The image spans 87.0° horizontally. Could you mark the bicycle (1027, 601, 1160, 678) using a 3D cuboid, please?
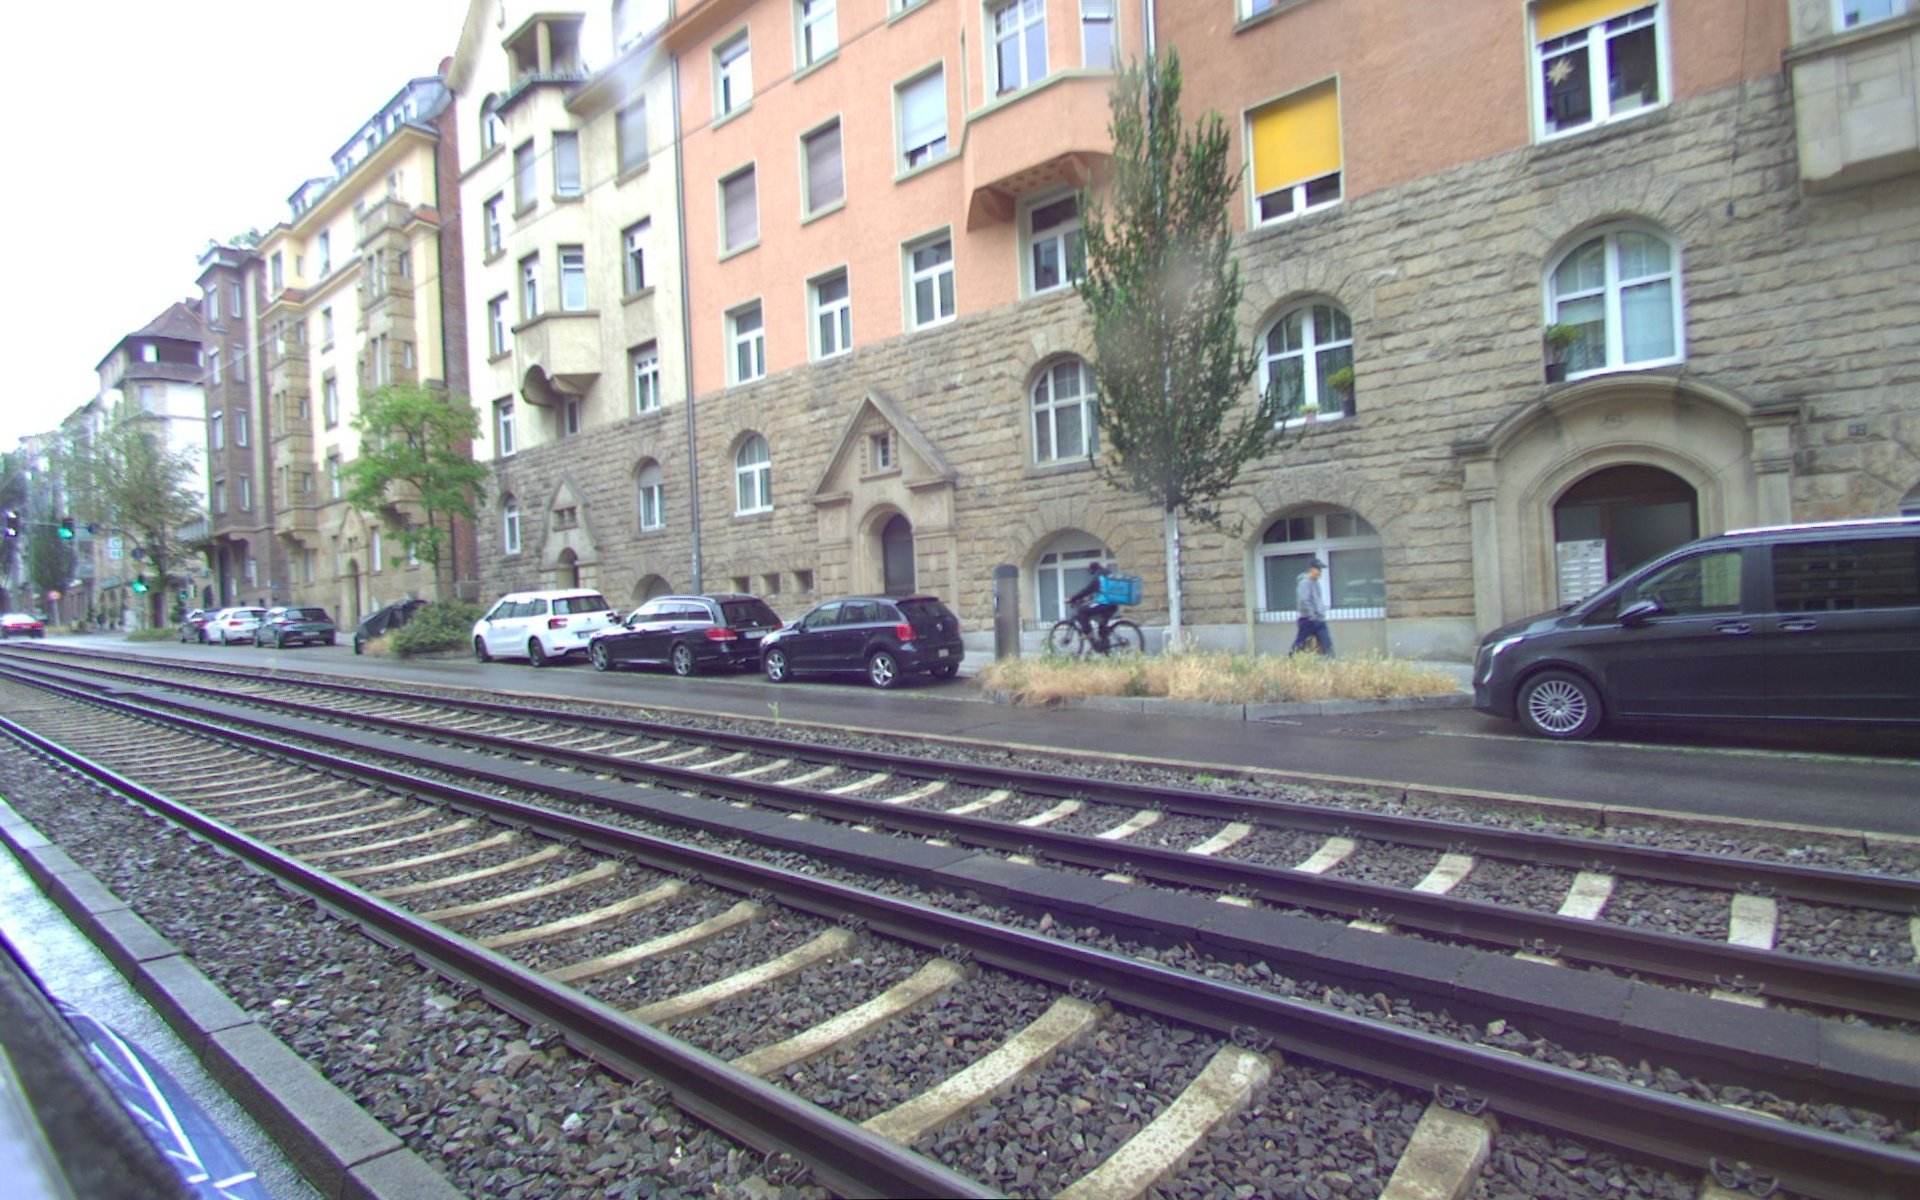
[{"bbox_3d":[2.198,0.639,16.786,2.034,1.195,0.816,-1,0,37],"label":"bicycle"}]

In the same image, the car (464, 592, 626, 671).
[{"bbox_3d":[-9.739,0.702,23.618,4.144,1.668,1.843,-1,0,41],"label":"car"}]

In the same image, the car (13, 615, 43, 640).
[{"bbox_3d":[-69.029,1.999,74.989,1.561,1.691,3.794,-2,2,-43],"label":"car"}]

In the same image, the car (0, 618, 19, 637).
[{"bbox_3d":[-80.903,2.297,85.429,3.843,1.527,1.748,-1,0,41],"label":"car"}]

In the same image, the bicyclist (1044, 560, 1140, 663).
[{"bbox_3d":[2.197,0.190,16.841,1.250,1.609,0.877,-2,3,34],"label":"bicyclist"}]

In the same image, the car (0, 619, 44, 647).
[{"bbox_3d":[-56.003,1.960,60.109,4.961,1.535,1.785,-1,0,41],"label":"car"}]

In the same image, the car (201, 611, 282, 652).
[{"bbox_3d":[-28.277,1.214,39.773,4.030,1.452,1.748,-1,1,42],"label":"car"}]

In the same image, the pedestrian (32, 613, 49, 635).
[{"bbox_3d":[-84.743,2.164,93.248,1.163,1.972,1.042,-1,0,43],"label":"pedestrian"}]

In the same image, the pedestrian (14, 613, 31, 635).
[{"bbox_3d":[-85.534,2.173,92.319,1.163,1.972,1.042,-1,0,43],"label":"pedestrian"}]

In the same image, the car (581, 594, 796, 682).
[{"bbox_3d":[-5.432,0.697,19.945,4.599,1.506,1.824,-1,0,41],"label":"car"}]

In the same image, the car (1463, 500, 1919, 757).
[{"bbox_3d":[7.351,0.214,8.987,4.823,1.956,1.973,-1,0,41],"label":"car"}]

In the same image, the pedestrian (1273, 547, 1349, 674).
[{"bbox_3d":[4.778,0.138,13.757,0.765,1.654,0.692,-1,0,40],"label":"pedestrian"}]

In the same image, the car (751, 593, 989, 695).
[{"bbox_3d":[-1.551,0.668,16.923,3.638,1.508,1.912,-1,0,38],"label":"car"}]

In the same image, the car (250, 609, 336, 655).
[{"bbox_3d":[-23.676,1.098,35.869,3.845,1.452,1.656,-1,1,43],"label":"car"}]

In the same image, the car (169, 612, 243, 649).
[{"bbox_3d":[-32.135,1.269,43.096,3.843,1.452,1.748,-1,0,41],"label":"car"}]
